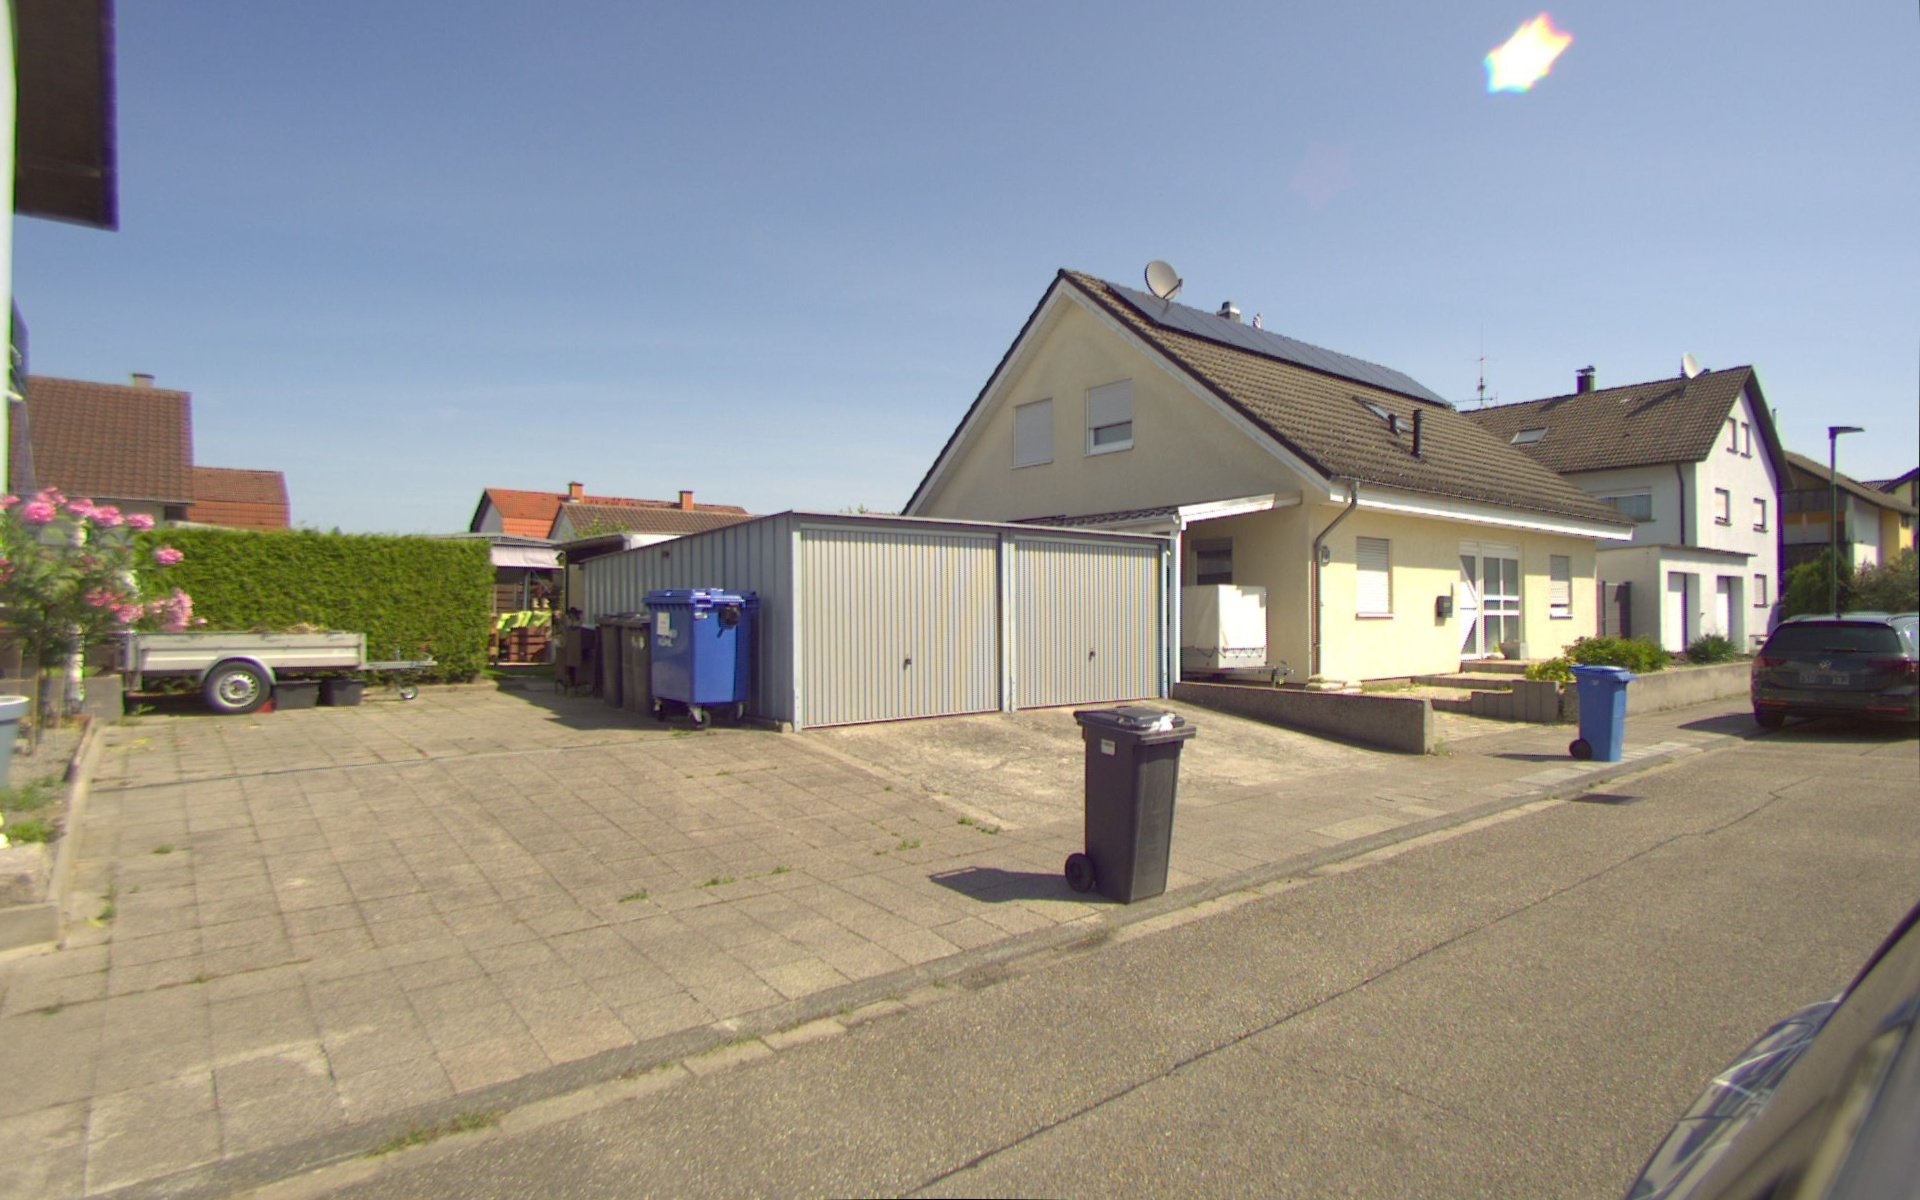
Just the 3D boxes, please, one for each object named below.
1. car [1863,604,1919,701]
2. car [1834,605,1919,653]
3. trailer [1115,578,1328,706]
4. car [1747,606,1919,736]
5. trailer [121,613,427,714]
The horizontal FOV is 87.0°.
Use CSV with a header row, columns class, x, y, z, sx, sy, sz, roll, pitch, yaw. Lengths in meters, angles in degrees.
class,x,y,z,sx,sy,sz,roll,pitch,yaw
car,16.461,0.809,16.737,3.928,1.498,1.645,0,-2,-39
car,27.856,0.847,30.693,3.464,1.376,1.497,0,-1,-40
trailer,3.825,0.574,15.098,1.377,1.711,2.841,1,-1,-37
car,12.117,0.816,13.277,4.419,1.457,1.722,0,-1,-37
trailer,-7.441,0.626,11.104,2.633,0.958,1.331,0,0,-37
